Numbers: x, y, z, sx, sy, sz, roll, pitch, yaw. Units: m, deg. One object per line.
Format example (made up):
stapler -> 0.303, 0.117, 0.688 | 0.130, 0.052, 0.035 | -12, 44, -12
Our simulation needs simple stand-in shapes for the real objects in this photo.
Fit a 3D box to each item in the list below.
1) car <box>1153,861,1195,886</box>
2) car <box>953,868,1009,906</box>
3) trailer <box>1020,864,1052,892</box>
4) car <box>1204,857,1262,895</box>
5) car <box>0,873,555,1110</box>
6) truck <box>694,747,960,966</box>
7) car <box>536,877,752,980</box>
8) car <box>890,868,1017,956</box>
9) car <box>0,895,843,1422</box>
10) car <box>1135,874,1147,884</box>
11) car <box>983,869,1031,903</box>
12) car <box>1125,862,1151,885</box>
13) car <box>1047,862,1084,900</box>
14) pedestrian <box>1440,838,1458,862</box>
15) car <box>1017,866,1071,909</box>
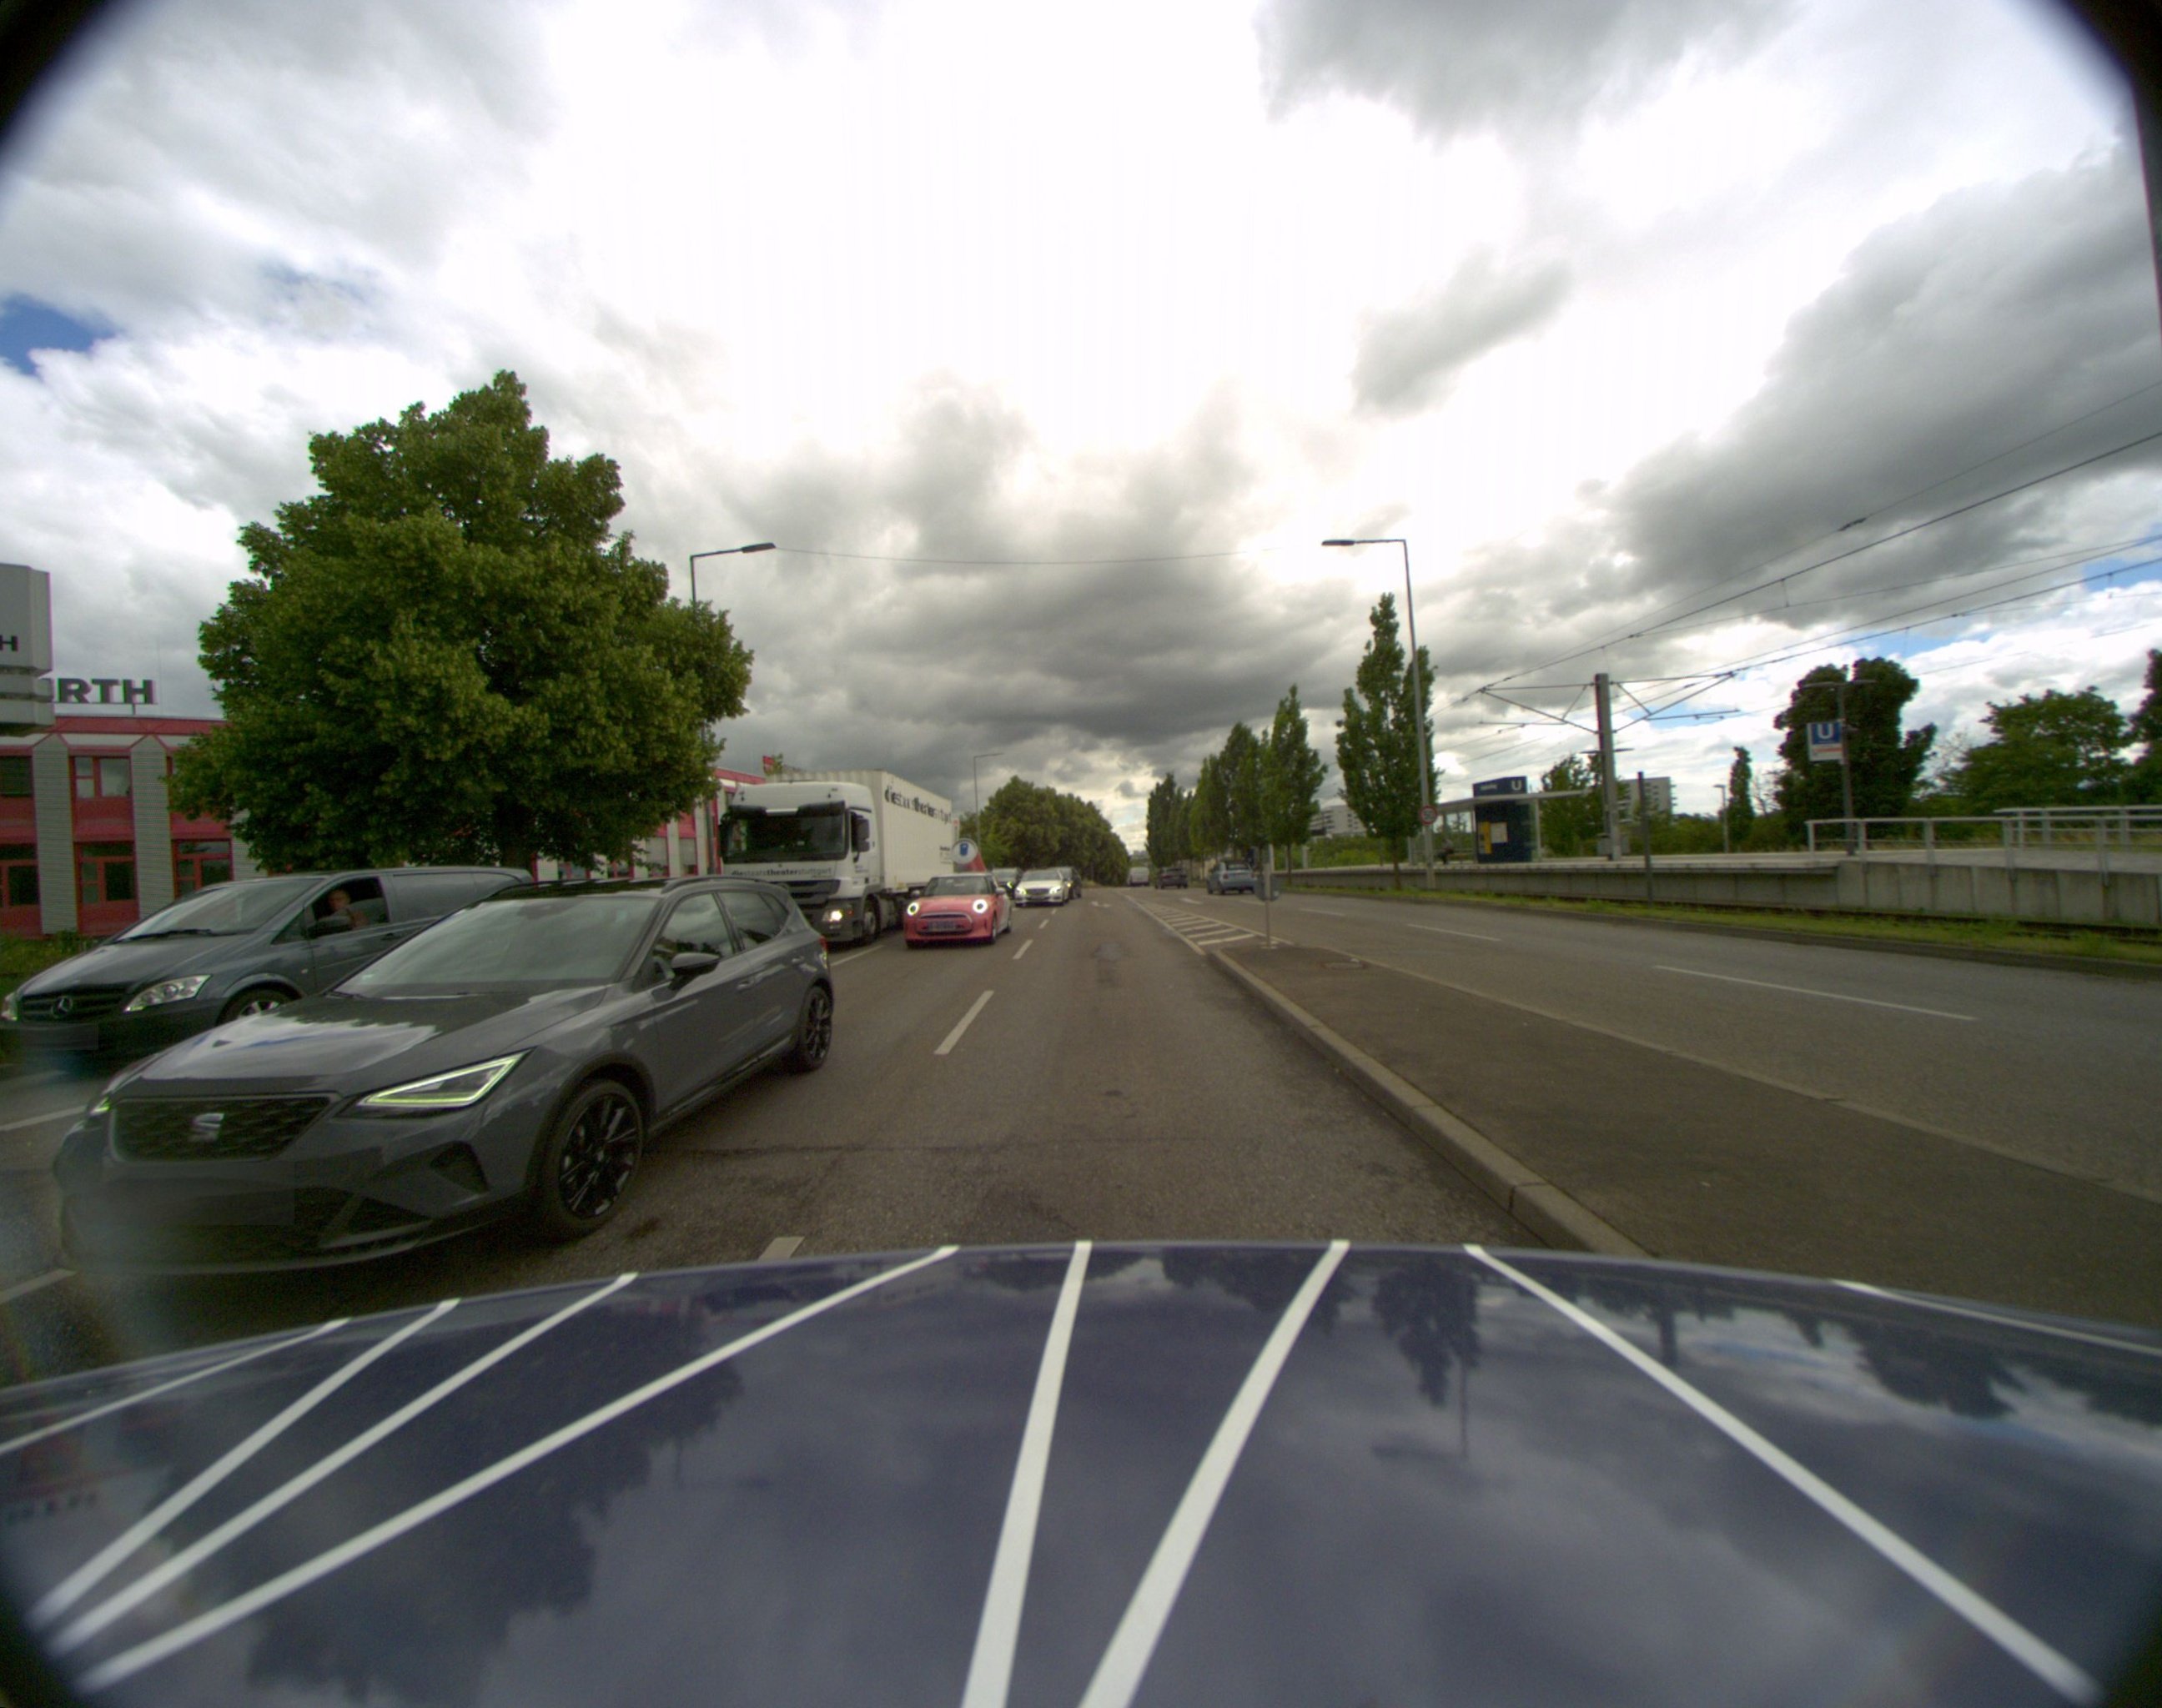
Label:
car -> 6.213, 1.291, 51.193 | 1.876, 1.416, 4.430 | -2, 1, -4
car -> -4.471, 1.445, 34.540 | 1.851, 1.521, 4.377 | -2, -1, 0
trailer -> -3.065, 1.618, 52.203 | 1.775, 1.650, 3.996 | -2, 2, 1
car -> 6.900, 0.964, 34.805 | 1.761, 1.519, 3.599 | -2, 1, -3
car -> -8.758, 1.254, 8.819 | 1.763, 1.764, 4.675 | -6, 0, 2
truck -> -5.416, 0.061, 18.864 | 2.809, 3.880, 10.182 | -2, 0, 2
car -> -8.600, 1.382, 15.476 | 1.844, 1.507, 4.106 | -6, 0, 1
car -> -2.476, 1.088, 15.580 | 1.825, 1.497, 3.495 | -2, 0, 2
car -> -2.870, 1.090, 4.350 | 1.628, 1.484, 3.838 | -2, -1, 2
car -> 9.754, 3.999, 123.681 | 1.699, 1.440, 3.937 | -2, -1, 7
car -> -3.795, 1.632, 39.861 | 1.797, 1.521, 4.219 | -2, 1, 4
car -> 5.577, 1.847, 74.401 | 1.920, 1.953, 5.371 | -2, 1, -2
car -> -0.709, 1.253, 37.025 | 1.669, 1.589, 3.996 | -2, 1, 0
pedestrian -> 17.772, -0.196, 36.695 | 0.601, 1.148, 0.447 | -2, 1, 1
car -> -1.410, 1.280, 30.427 | 1.804, 1.403, 4.317 | -2, 1, 2
